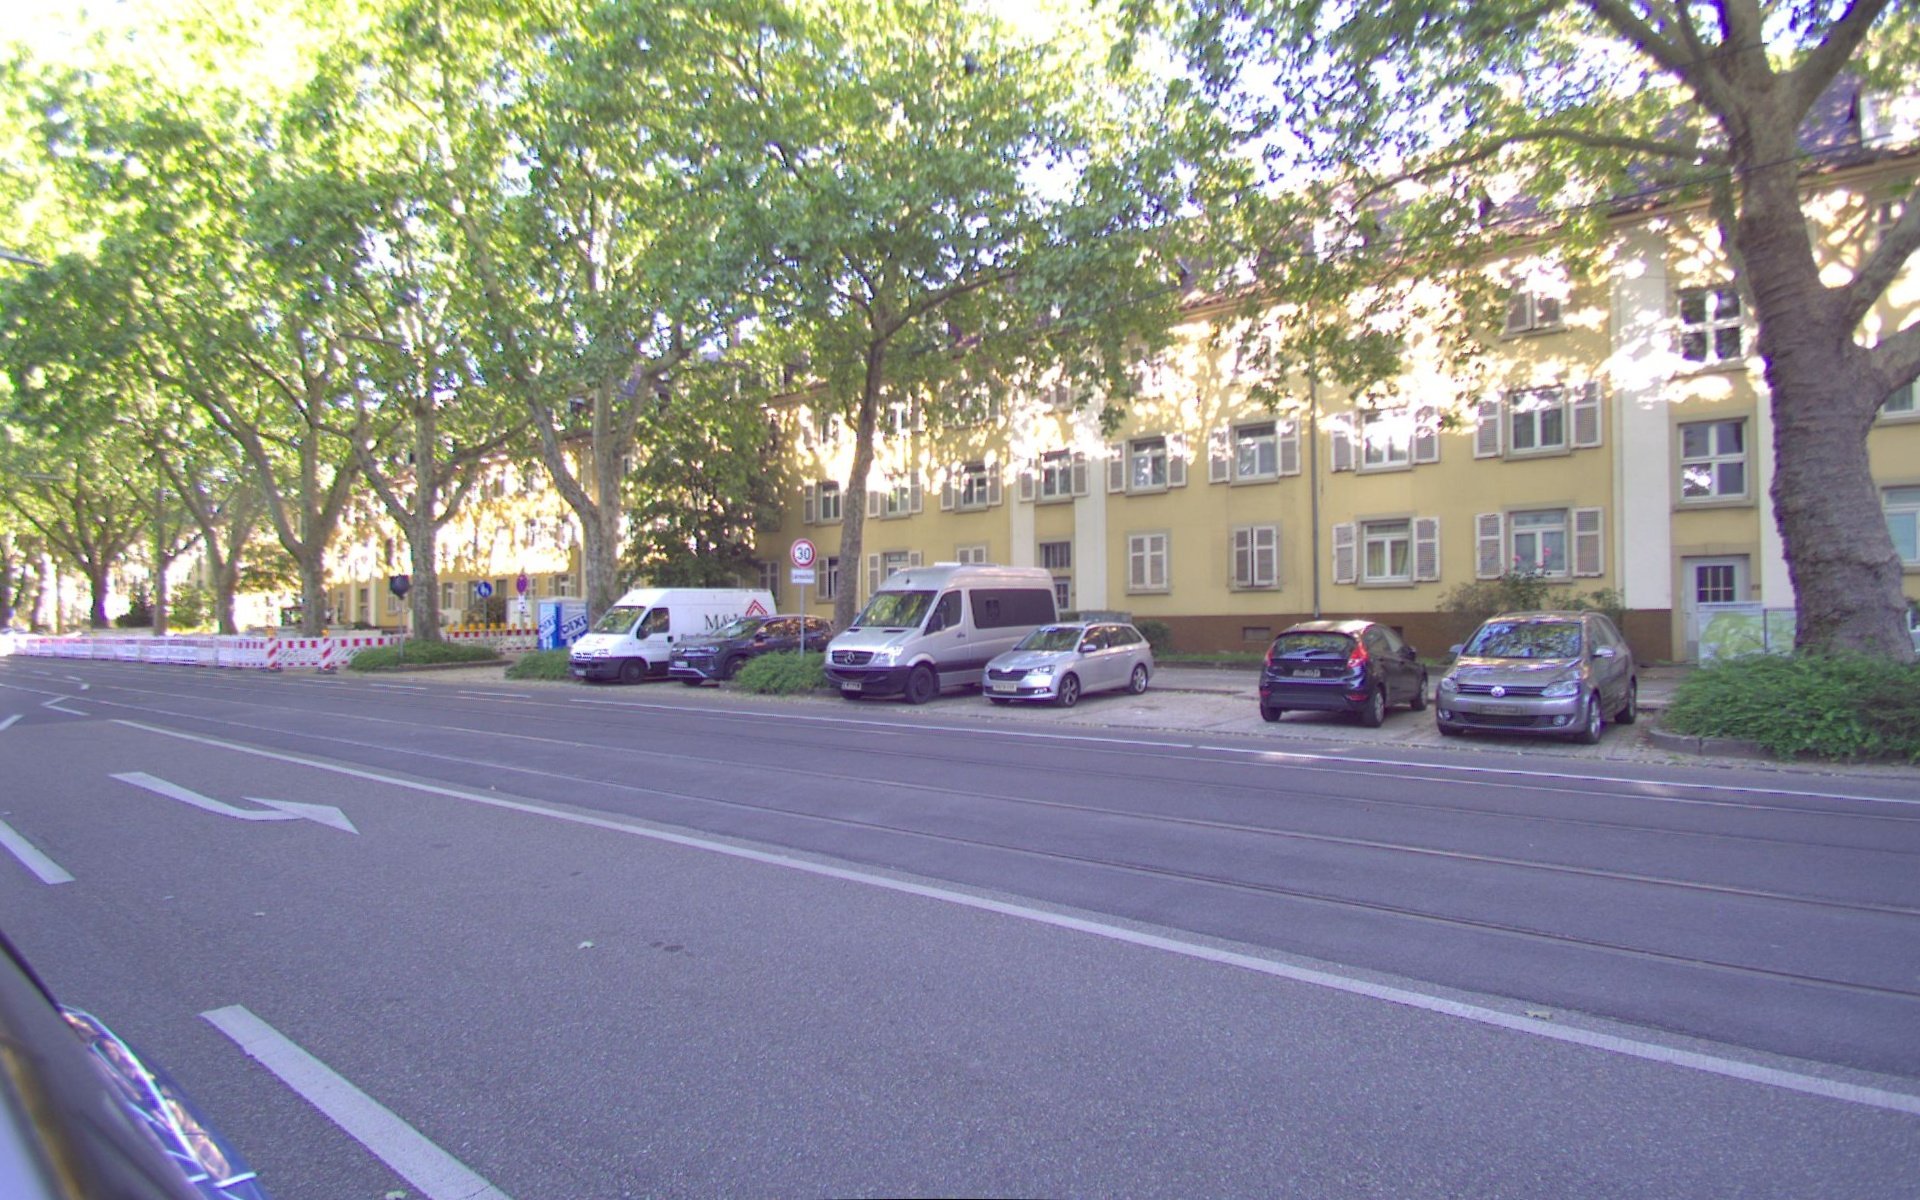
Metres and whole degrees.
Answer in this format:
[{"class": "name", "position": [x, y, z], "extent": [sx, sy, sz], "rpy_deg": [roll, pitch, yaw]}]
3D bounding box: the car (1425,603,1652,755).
[{"class": "car", "position": [7.701, 0.879, 13.293], "extent": [1.844, 1.631, 4.028], "rpy_deg": [-1, 0, 41]}]

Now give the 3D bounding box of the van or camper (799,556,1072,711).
[{"class": "van or camper", "position": [-0.281, 0.563, 20.347], "extent": [2.154, 2.668, 5.857], "rpy_deg": [-1, 0, 40]}]

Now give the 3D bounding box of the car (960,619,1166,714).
[{"class": "car", "position": [2.015, 1.139, 18.768], "extent": [1.693, 1.457, 4.221], "rpy_deg": [-1, 0, 41]}]

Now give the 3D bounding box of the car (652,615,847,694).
[{"class": "car", "position": [-4.941, 1.218, 24.306], "extent": [1.693, 1.645, 4.481], "rpy_deg": [-1, 0, 41]}]

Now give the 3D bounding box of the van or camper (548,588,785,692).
[{"class": "van or camper", "position": [-7.470, 0.915, 26.330], "extent": [2.154, 2.403, 5.690], "rpy_deg": [-1, 0, 40]}]

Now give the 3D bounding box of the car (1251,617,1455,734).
[{"class": "car", "position": [6.046, 1.027, 15.352], "extent": [1.693, 1.457, 3.811], "rpy_deg": [-1, 0, 41]}]
